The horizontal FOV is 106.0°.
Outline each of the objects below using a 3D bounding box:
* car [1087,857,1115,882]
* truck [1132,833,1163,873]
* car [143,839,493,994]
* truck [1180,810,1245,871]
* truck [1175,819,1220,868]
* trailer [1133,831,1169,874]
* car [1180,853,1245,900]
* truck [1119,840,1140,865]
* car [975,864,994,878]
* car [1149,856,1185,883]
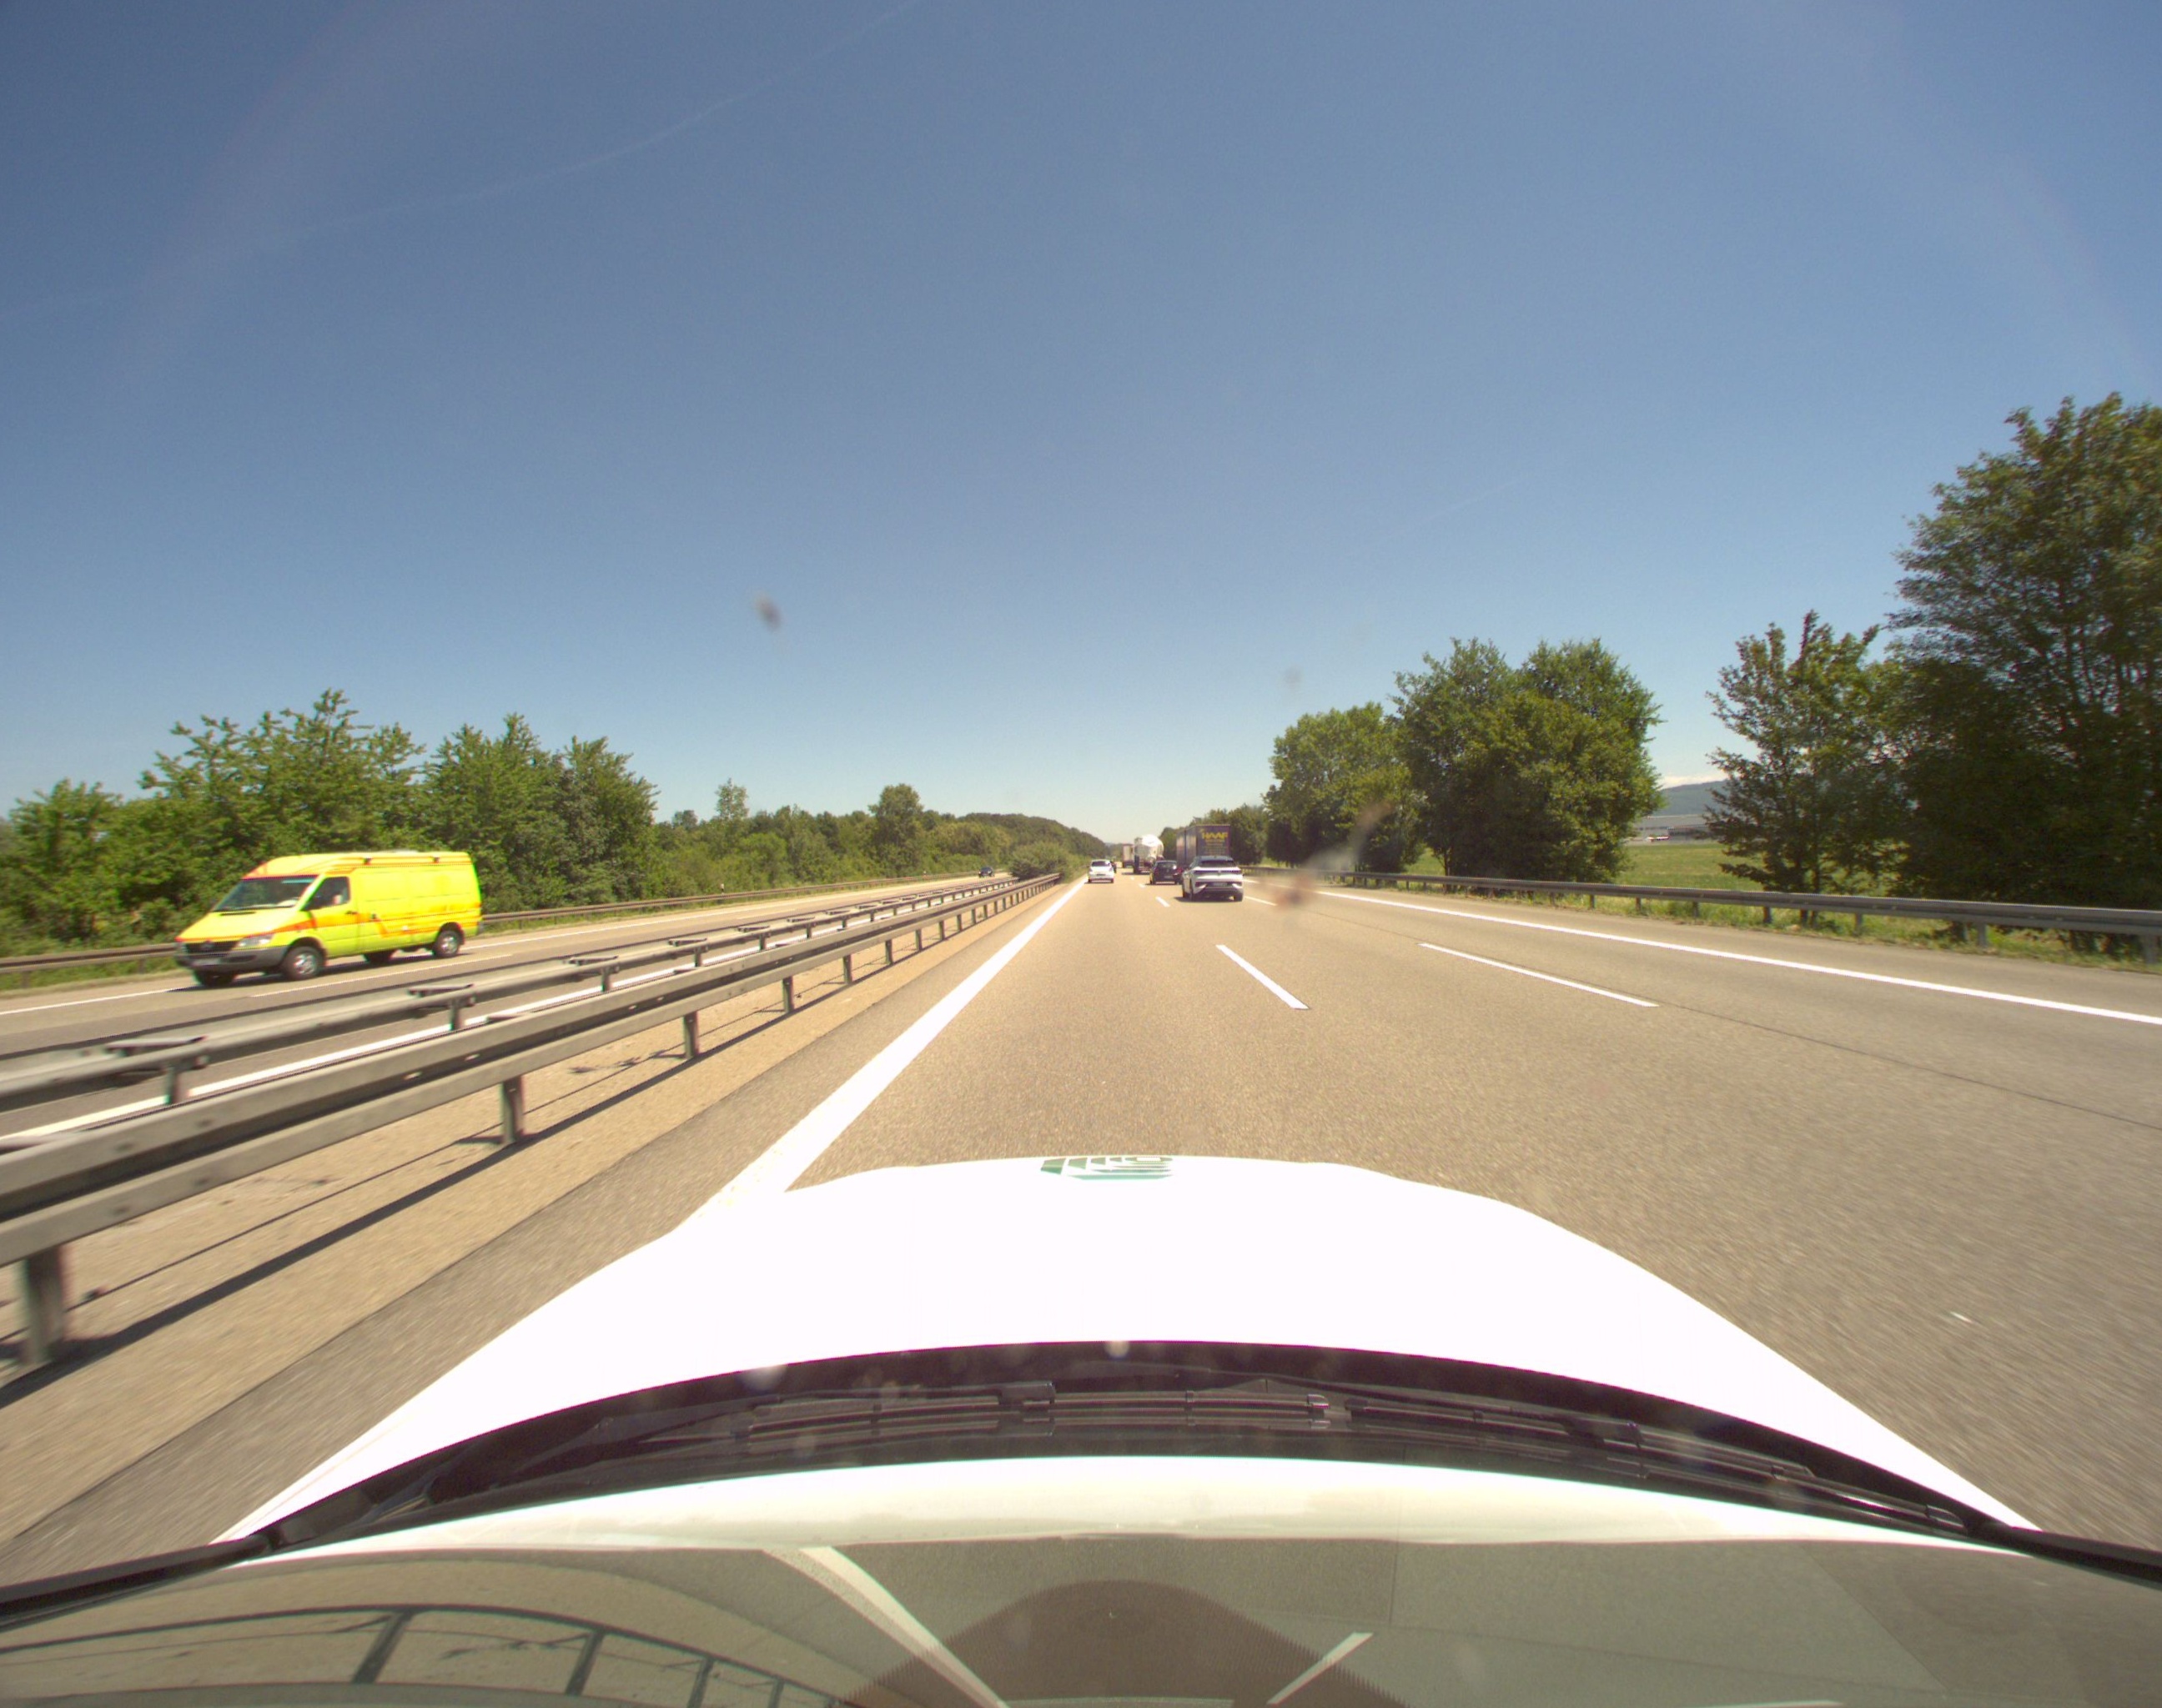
[{"bbox_3d":[1.278,1.002,53.395,1.793,1.552,3.610,0,0,1],"label":"car"},{"bbox_3d":[7.144,-0.083,88.344,2.901,4.079,7.197,0,0,1],"label":"truck"},{"bbox_3d":[-16.462,1.182,18.233,2.157,2.779,5.801,-4,0,1],"label":"car"},{"bbox_3d":[9.809,-0.882,62.578,3.096,4.139,15.520,0,0,2],"label":"truck"},{"bbox_3d":[10.227,-0.853,72.298,3.096,4.139,8.060,0,0,2],"label":"truck"},{"bbox_3d":[7.004,-0.102,83.455,2.901,4.069,12.421,0,0,1],"label":"trailer"},{"bbox_3d":[4.780,0.777,30.057,1.796,1.603,4.382,0,0,1],"label":"car"},{"bbox_3d":[8.422,-0.204,142.208,3.381,4.214,12.090,0,0,2],"label":"truck"},{"bbox_3d":[-13.314,2.332,112.217,1.917,1.717,4.289,-2,0,2],"label":"car"},{"bbox_3d":[5.061,0.901,48.445,1.843,1.523,3.958,0,0,1],"label":"car"}]
